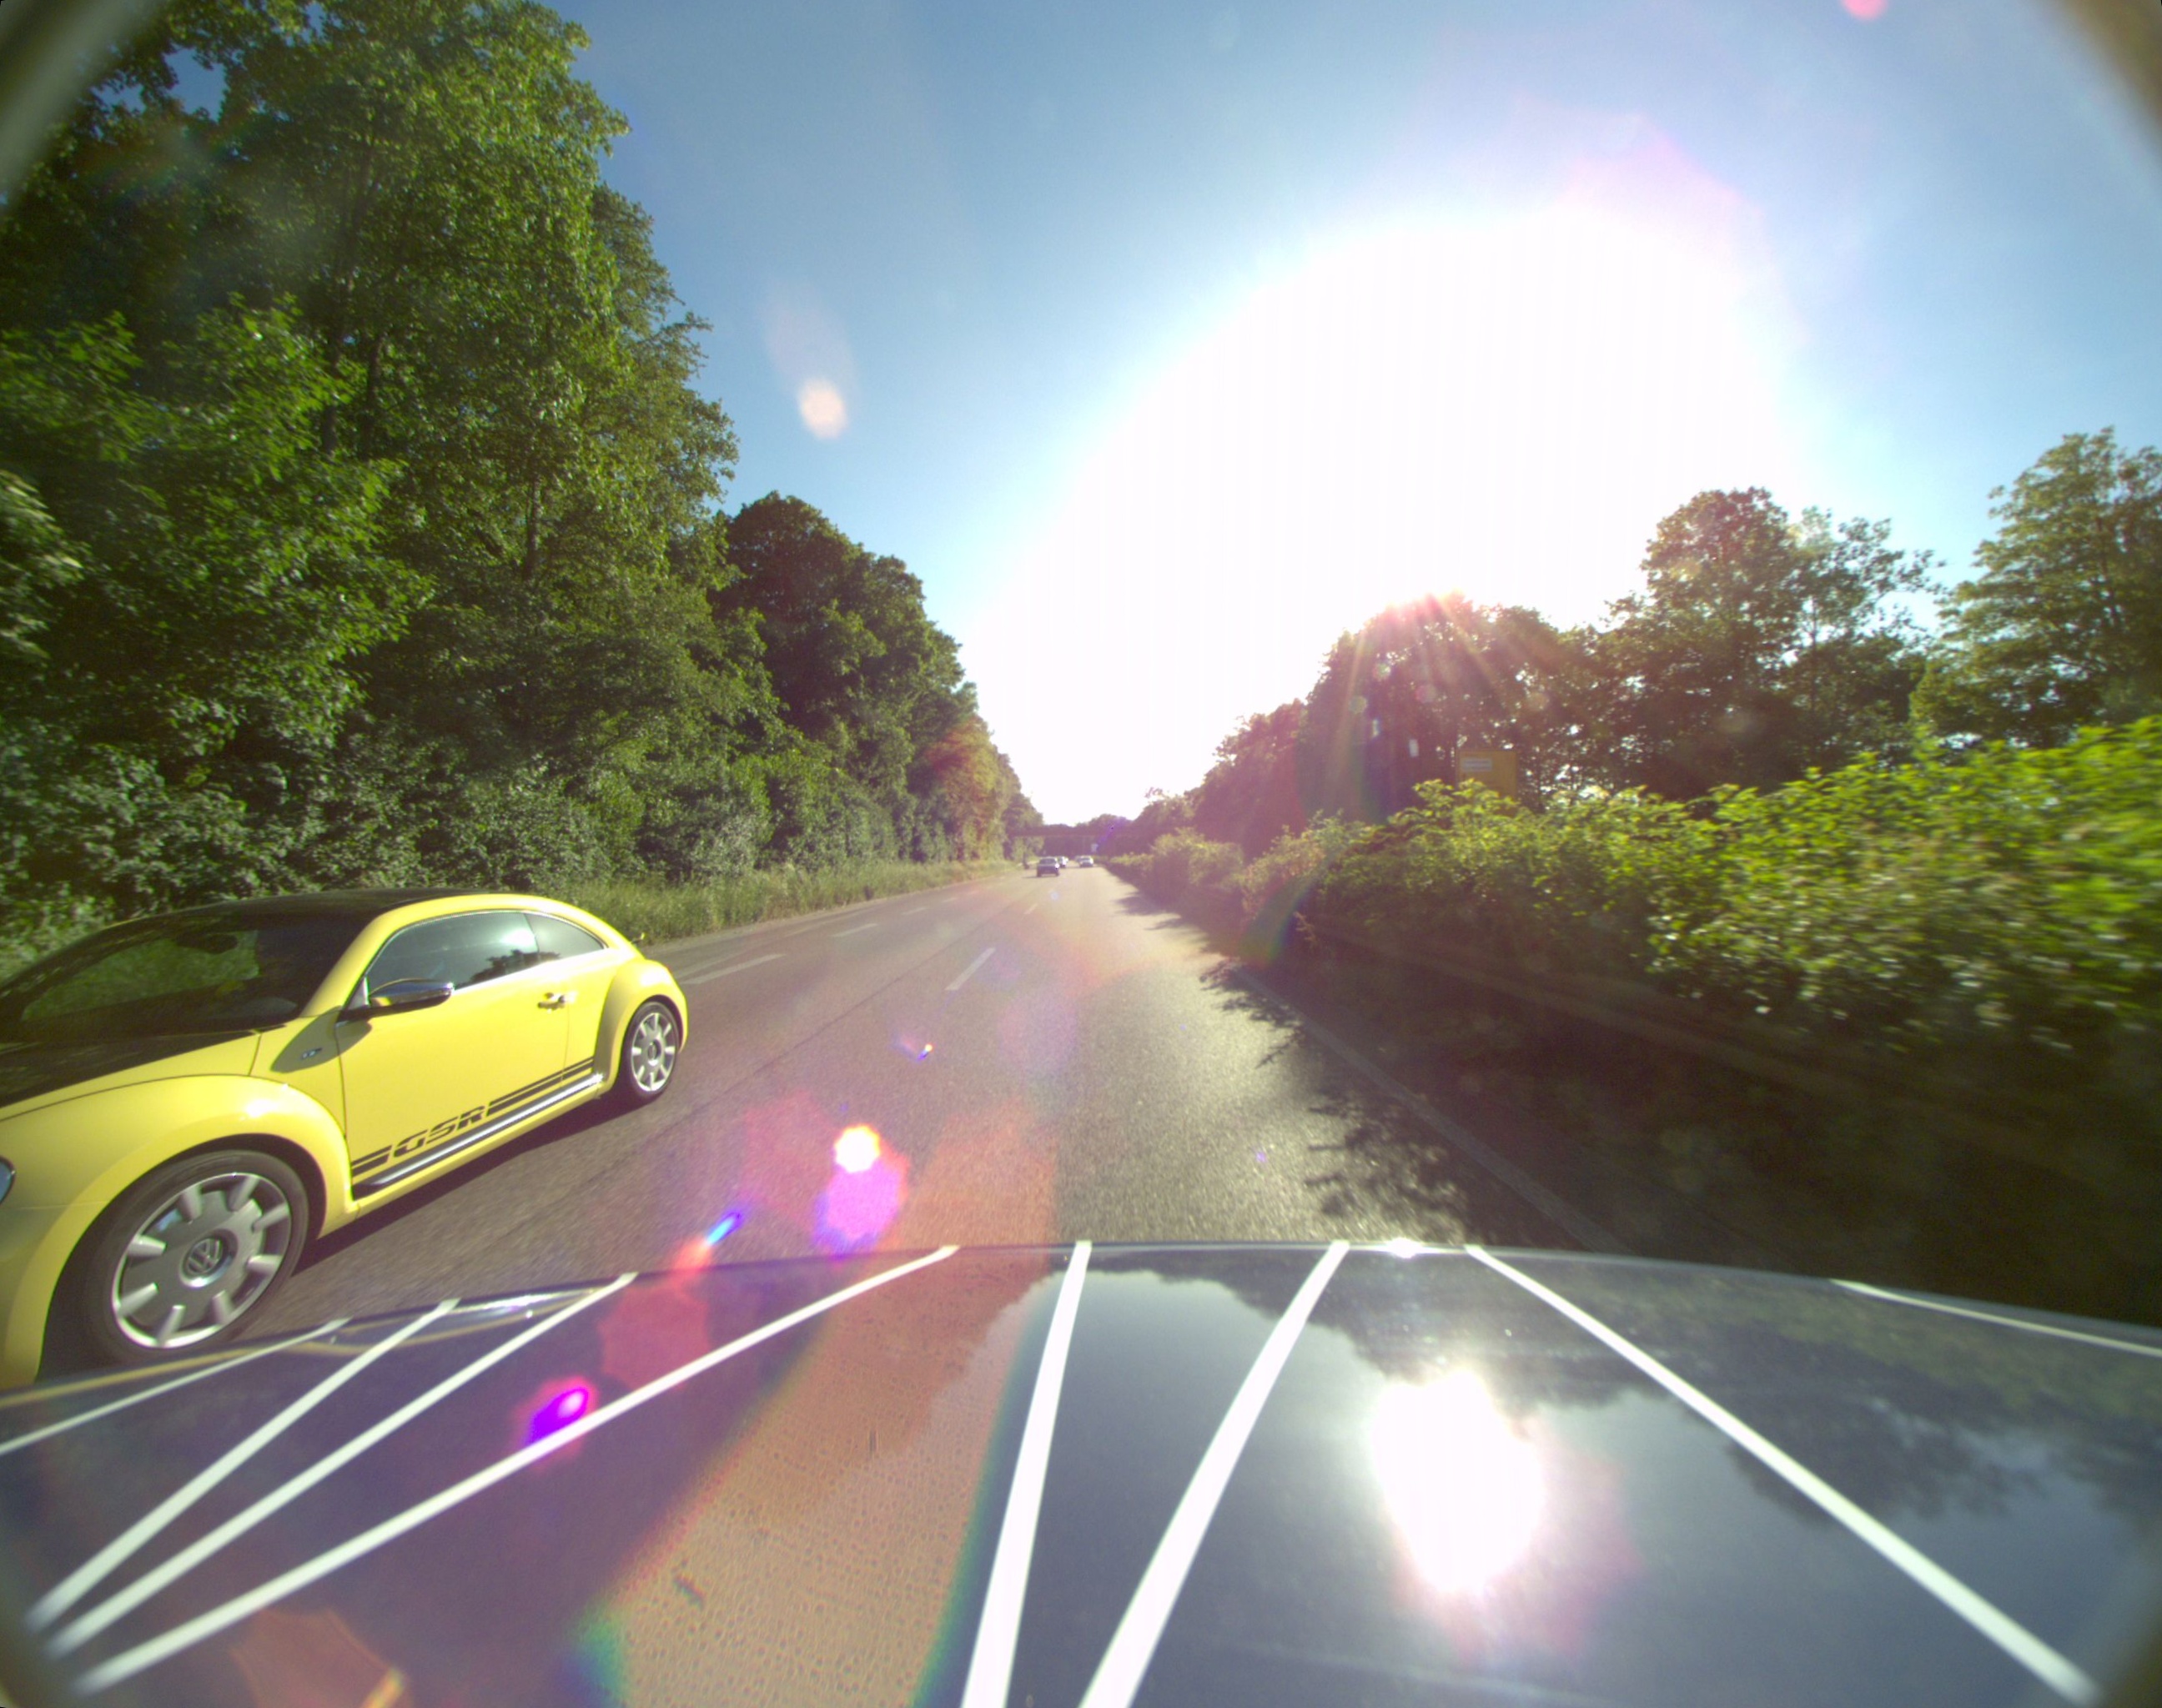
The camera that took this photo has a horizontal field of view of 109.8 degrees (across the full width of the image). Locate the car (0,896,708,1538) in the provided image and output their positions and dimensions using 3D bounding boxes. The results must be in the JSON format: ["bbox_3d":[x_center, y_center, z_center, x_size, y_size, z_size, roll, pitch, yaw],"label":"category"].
[{"bbox_3d":[-3.770,1.076,3.512,1.884,1.453,4.355,-2,0,0],"label":"car"}]

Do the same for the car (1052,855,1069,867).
[{"bbox_3d":[-2.735,0.870,98.477,1.802,1.453,4.353,-1,0,-7],"label":"car"}]

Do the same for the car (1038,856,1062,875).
[{"bbox_3d":[-2.497,0.901,62.397,1.801,1.453,4.355,-2,0,-1],"label":"car"}]

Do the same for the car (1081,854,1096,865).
[{"bbox_3d":[0.994,0.783,103.822,1.904,1.453,4.355,-1,0,-1],"label":"car"}]
